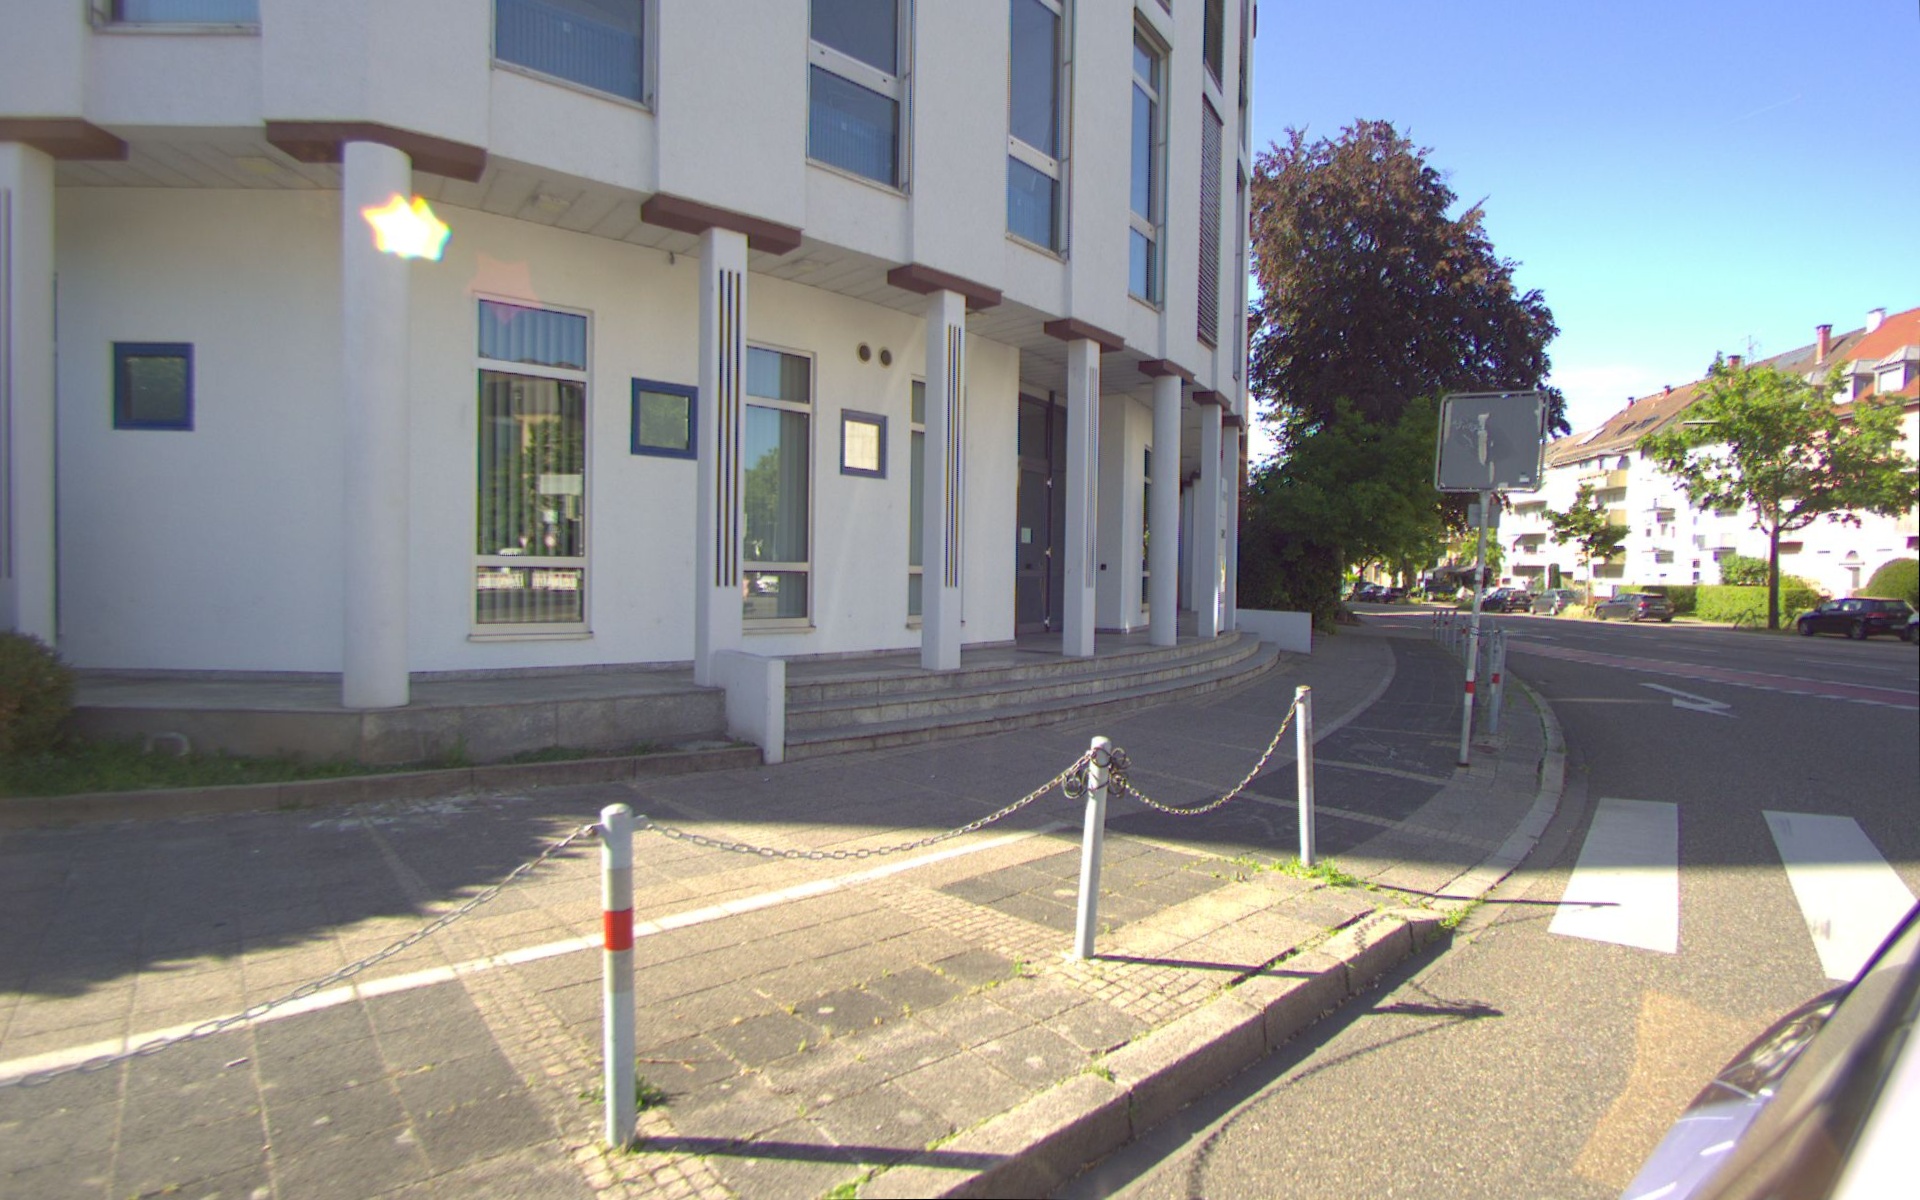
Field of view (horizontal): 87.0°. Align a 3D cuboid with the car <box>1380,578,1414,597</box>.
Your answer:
[{"bbox_3d":[38.913,-1.143,90.210,1.774,1.581,3.916,-2,0,7],"label":"car"}]

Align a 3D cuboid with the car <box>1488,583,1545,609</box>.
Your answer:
[{"bbox_3d":[35.696,-0.264,65.033,1.774,1.581,4.159,-2,0,7],"label":"car"}]

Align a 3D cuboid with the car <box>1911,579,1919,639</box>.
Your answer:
[{"bbox_3d":[31.388,0.285,30.407,1.772,1.881,4.164,-2,0,3],"label":"car"}]

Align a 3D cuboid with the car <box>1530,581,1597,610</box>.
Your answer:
[{"bbox_3d":[35.052,-0.269,58.898,1.774,1.581,4.159,-2,0,7],"label":"car"}]

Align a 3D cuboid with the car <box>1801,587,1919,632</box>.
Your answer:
[{"bbox_3d":[31.934,0.285,35.511,1.774,1.447,4.042,-2,0,7],"label":"car"}]

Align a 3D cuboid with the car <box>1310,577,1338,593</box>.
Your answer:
[{"bbox_3d":[37.645,-1.537,104.735,1.774,1.581,4.159,1,2,7],"label":"car"}]

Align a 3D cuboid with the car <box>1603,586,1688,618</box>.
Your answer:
[{"bbox_3d":[33.670,0.055,49.844,1.774,1.476,3.997,-2,0,7],"label":"car"}]

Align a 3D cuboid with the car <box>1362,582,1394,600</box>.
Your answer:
[{"bbox_3d":[39.561,-0.854,95.809,1.774,1.581,3.916,-2,0,7],"label":"car"}]
